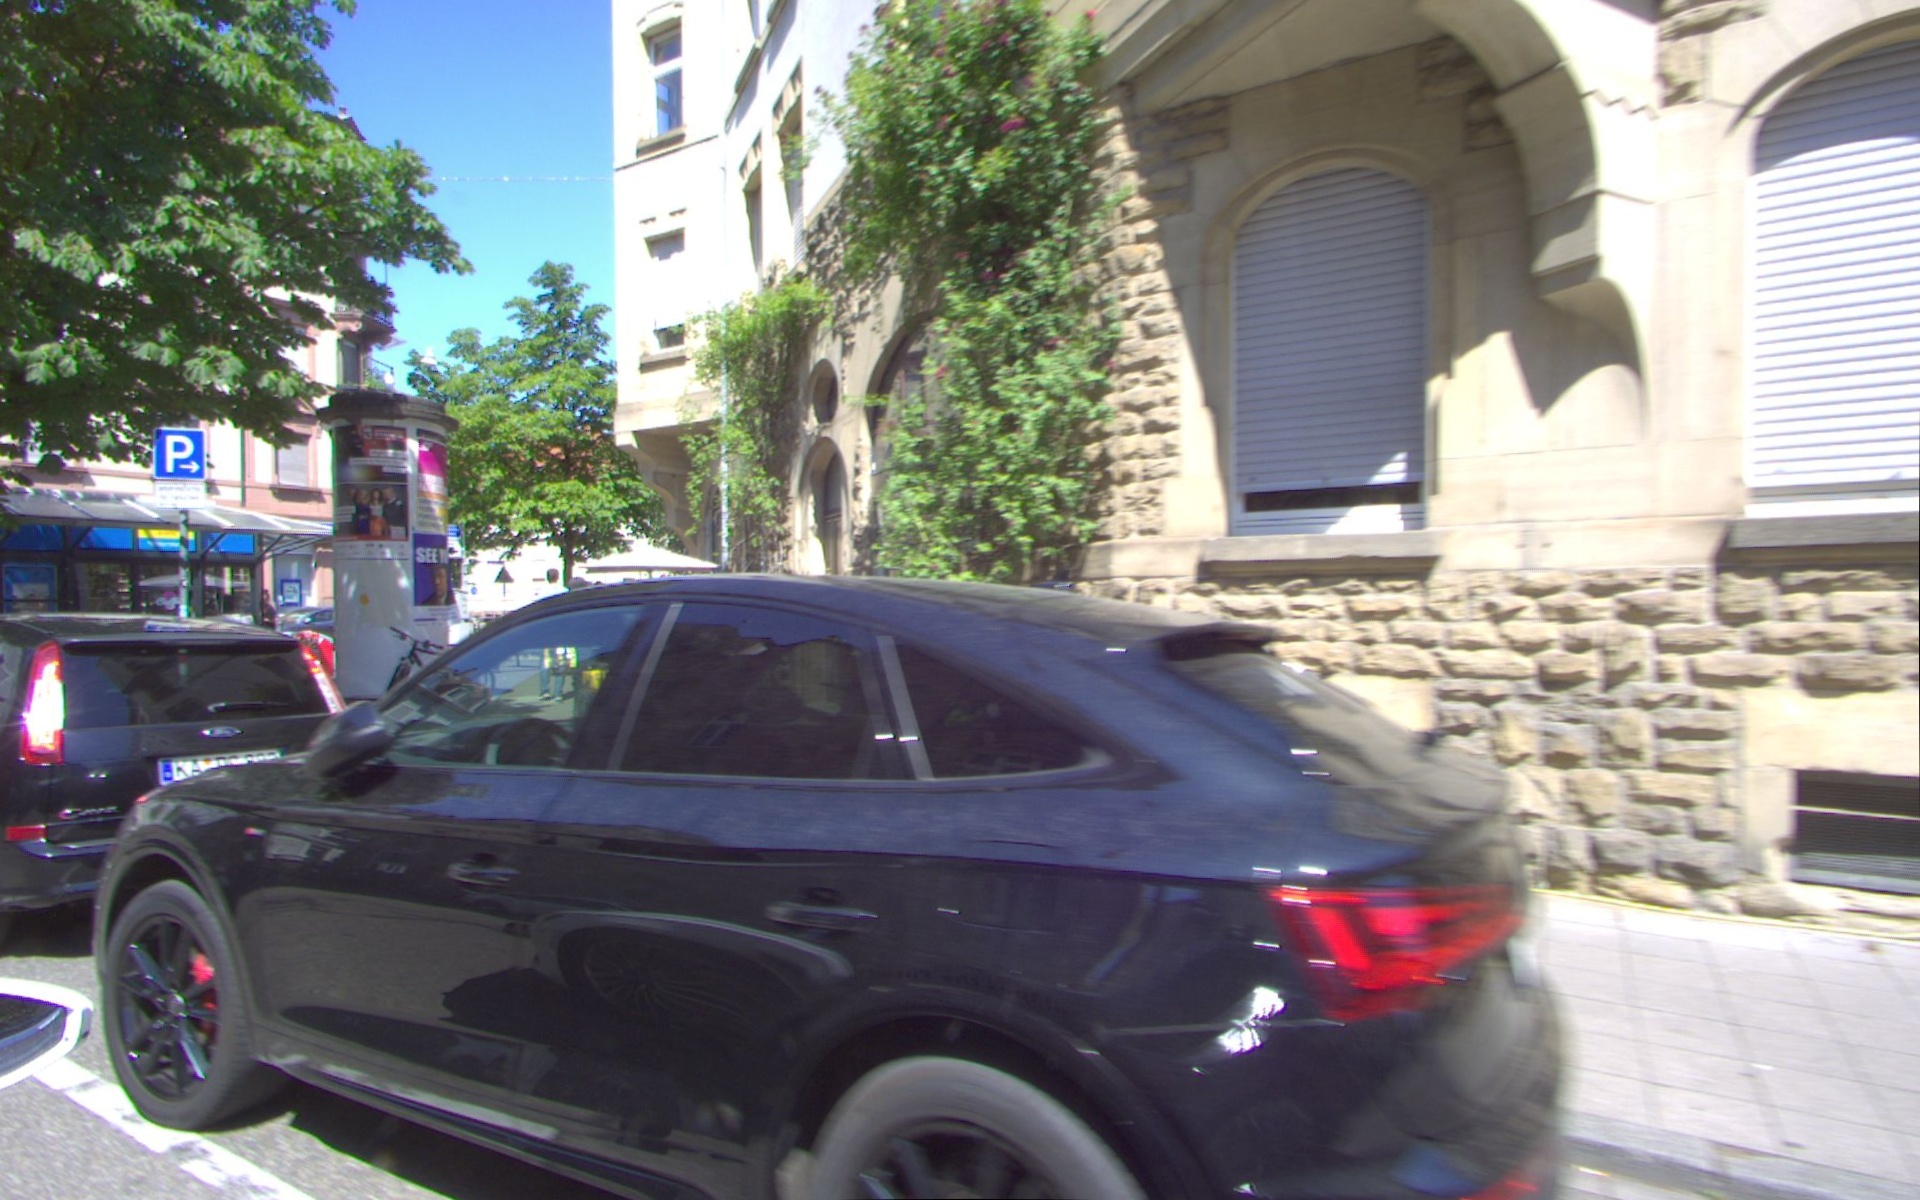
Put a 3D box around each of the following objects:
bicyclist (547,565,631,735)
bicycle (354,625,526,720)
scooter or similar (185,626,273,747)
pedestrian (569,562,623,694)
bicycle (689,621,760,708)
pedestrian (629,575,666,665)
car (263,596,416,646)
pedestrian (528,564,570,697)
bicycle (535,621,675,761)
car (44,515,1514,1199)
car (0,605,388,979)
[{"bbox_3d":[-3.811,0.485,10.271,0.670,1.670,0.658,-1,1,-31],"label":"bicyclist"},{"bbox_3d":[-6.607,0.886,12.830,0.624,1.053,1.896,0,1,31],"label":"bicycle"},{"bbox_3d":[-7.608,0.861,10.456,0.436,1.152,1.181,-1,1,-22],"label":"scooter or similar"},{"bbox_3d":[-5.420,0.413,14.931,0.590,1.905,0.882,-1,0,-10],"label":"pedestrian"},{"bbox_3d":[-3.211,0.831,13.538,0.541,1.053,1.829,-1,1,-25],"label":"bicycle"},{"bbox_3d":[-6.454,0.399,20.708,0.572,1.818,0.749,-1,1,-7],"label":"pedestrian"},{"bbox_3d":[-20.685,0.666,33.523,1.752,1.526,3.980,0,1,30],"label":"car"},{"bbox_3d":[-6.028,0.437,14.714,0.511,1.893,0.652,-1,1,-20],"label":"pedestrian"},{"bbox_3d":[-3.666,0.835,10.169,0.785,1.185,2.563,-1,1,-32],"label":"bicycle"},{"bbox_3d":[-0.763,0.737,3.076,4.281,1.617,1.735,0,-2,29],"label":"car"},{"bbox_3d":[-5.372,0.839,5.917,4.116,1.560,1.661,0,-2,31],"label":"car"}]
